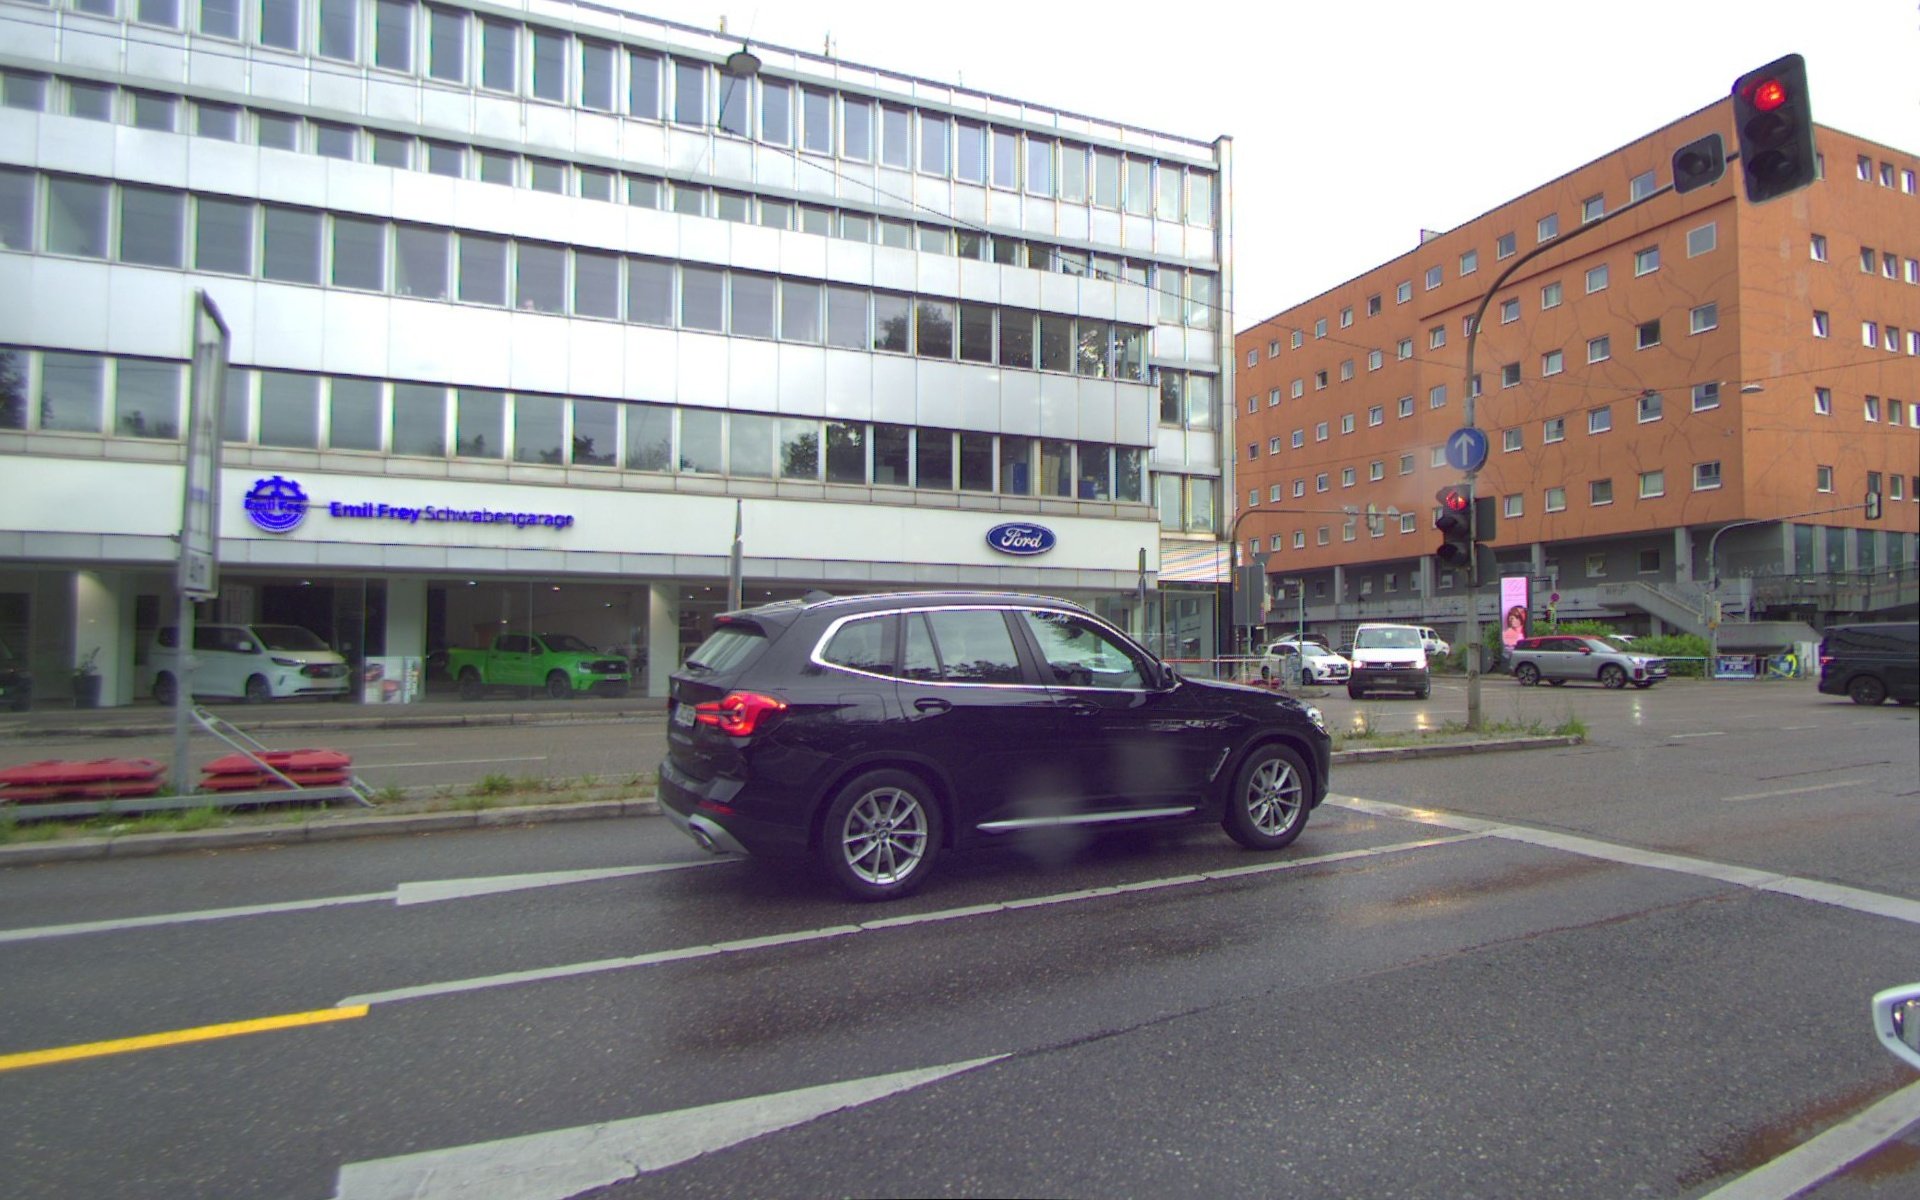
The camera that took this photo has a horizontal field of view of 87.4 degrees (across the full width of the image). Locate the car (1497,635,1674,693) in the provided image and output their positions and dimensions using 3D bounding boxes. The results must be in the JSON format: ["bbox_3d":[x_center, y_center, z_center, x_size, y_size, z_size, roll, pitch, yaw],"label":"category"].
[{"bbox_3d":[19.819,1.957,32.028,1.858,1.659,4.491,1,-2,-29],"label":"car"}]

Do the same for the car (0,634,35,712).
[{"bbox_3d":[-21.470,1.539,21.099,3.931,1.594,1.996,-3,-4,32],"label":"car"}]

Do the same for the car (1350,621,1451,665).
[{"bbox_3d":[23.079,2.248,52.658,4.779,2.041,1.990,2,1,-21],"label":"car"}]

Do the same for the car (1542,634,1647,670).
[{"bbox_3d":[30.939,2.573,49.108,1.865,1.639,4.011,1,-4,-20],"label":"car"}]

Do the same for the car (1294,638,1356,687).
[{"bbox_3d":[13.414,2.310,36.993,1.961,1.659,4.827,-2,-4,19],"label":"car"}]

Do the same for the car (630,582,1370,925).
[{"bbox_3d":[0.350,0.743,6.694,4.611,1.619,1.940,0,0,-28],"label":"car"}]

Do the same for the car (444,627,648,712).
[{"bbox_3d":[-10.778,1.809,26.120,5.109,2.037,1.999,-2,-4,26],"label":"car"}]

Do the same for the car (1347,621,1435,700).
[{"bbox_3d":[11.781,1.680,27.570,1.962,1.957,5.212,-2,-4,23],"label":"car"}]

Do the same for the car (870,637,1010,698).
[{"bbox_3d":[-0.719,2.144,31.710,1.983,1.761,4.721,2,-5,-38],"label":"car"}]

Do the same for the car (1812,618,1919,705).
[{"bbox_3d":[21.729,1.342,21.464,1.972,1.870,5.063,1,-2,-24],"label":"car"}]

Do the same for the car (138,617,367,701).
[{"bbox_3d":[-17.418,1.487,24.767,4.889,1.922,2.001,-2,-4,17],"label":"car"}]
